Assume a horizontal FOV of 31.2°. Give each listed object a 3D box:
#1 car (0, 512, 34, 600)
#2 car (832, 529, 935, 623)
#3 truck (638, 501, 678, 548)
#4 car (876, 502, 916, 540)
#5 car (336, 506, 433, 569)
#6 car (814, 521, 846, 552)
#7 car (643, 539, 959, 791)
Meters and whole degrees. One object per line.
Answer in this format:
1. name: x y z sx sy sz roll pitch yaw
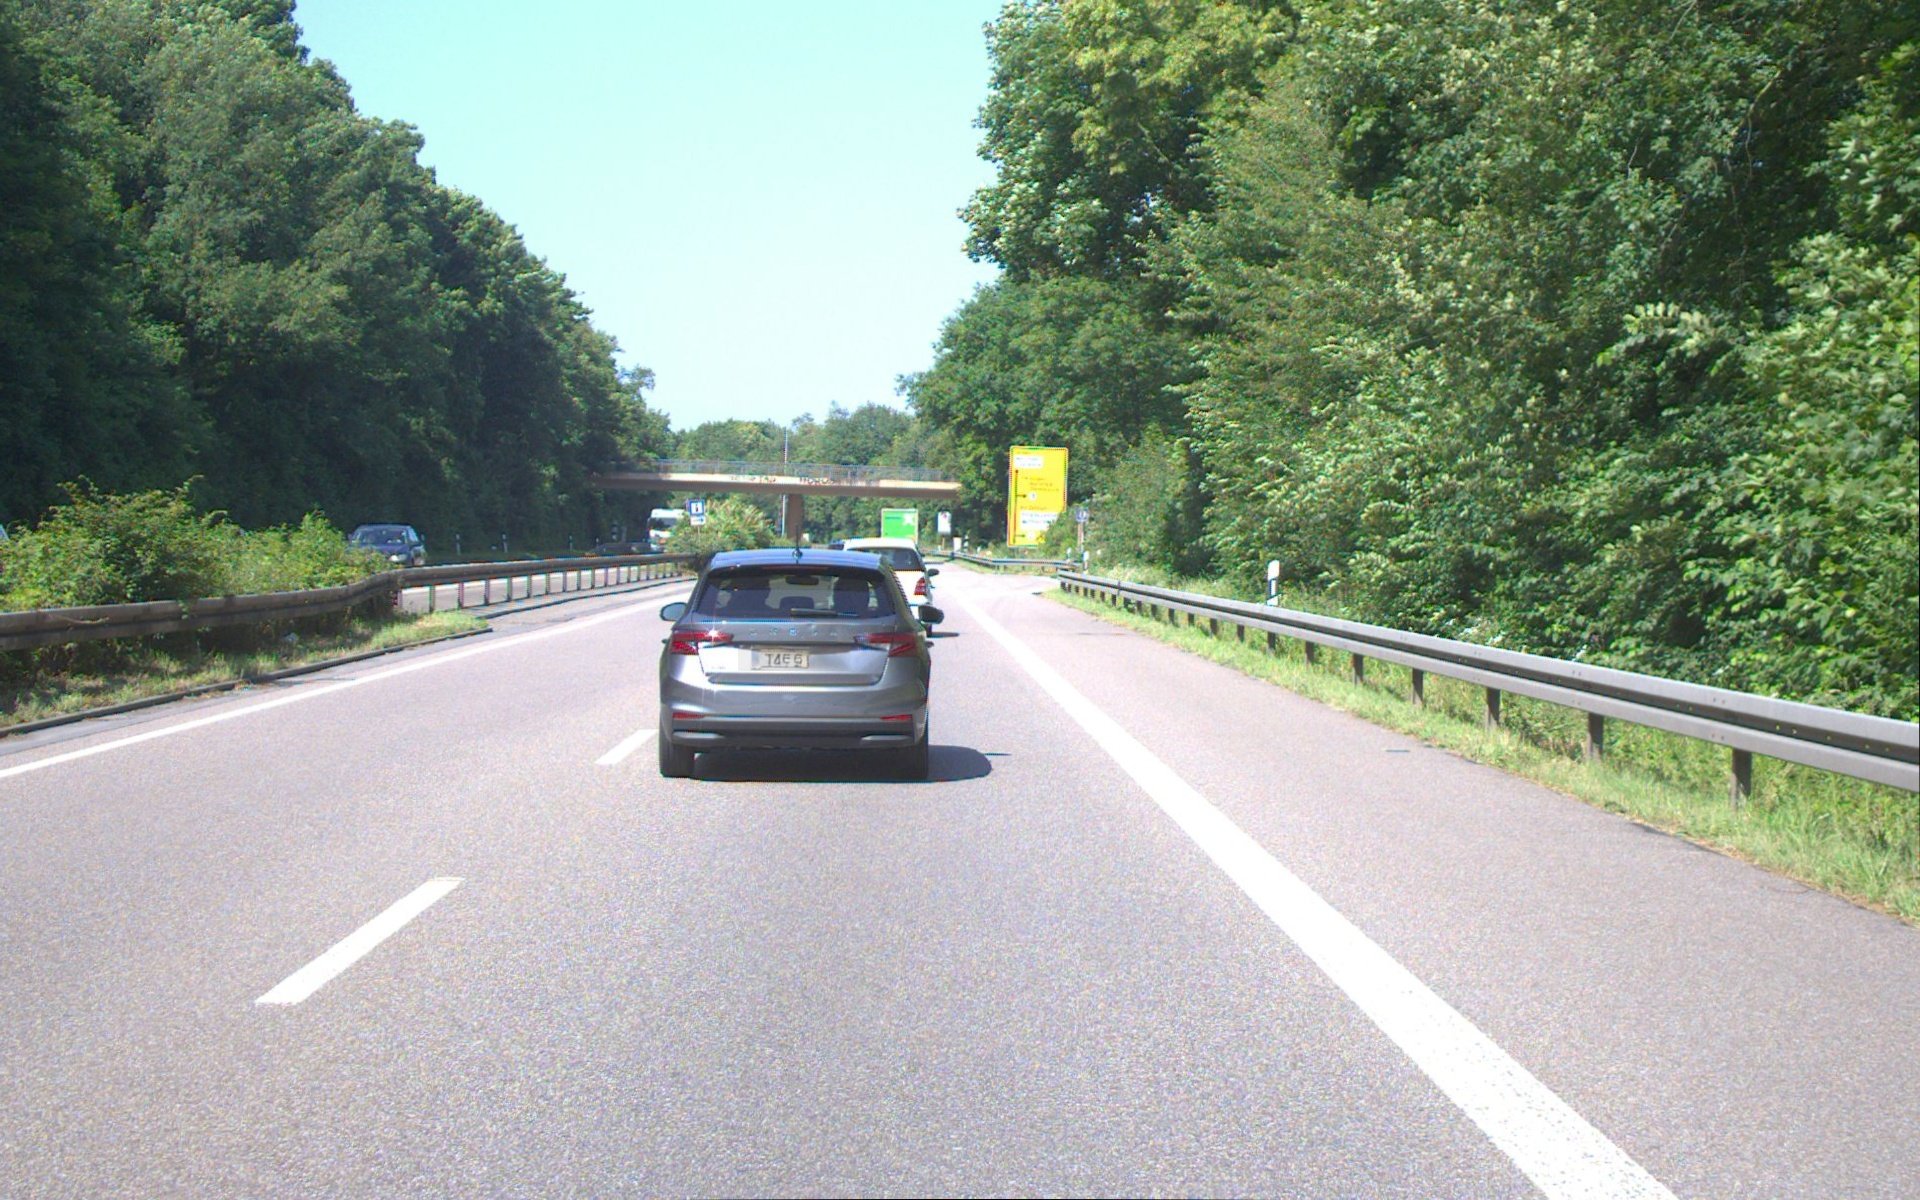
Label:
1. car: -16.887 -0.749 57.666 1.672 1.468 3.623 1 1 1
2. car: -1.206 -0.412 55.517 1.522 1.441 3.340 1 1 1
3. truck: -21.106 -5.245 240.178 2.425 3.247 4.000 1 1 -1
4. car: -4.518 -5.576 242.270 2.748 2.645 4.000 1 1 -1
5. car: -13.842 -1.512 82.905 1.672 1.468 3.623 1 1 1
6. car: -8.510 -4.136 225.172 1.993 2.007 4.000 1 1 -1
7. car: -0.963 0.360 22.561 1.840 1.467 3.623 1 1 1
